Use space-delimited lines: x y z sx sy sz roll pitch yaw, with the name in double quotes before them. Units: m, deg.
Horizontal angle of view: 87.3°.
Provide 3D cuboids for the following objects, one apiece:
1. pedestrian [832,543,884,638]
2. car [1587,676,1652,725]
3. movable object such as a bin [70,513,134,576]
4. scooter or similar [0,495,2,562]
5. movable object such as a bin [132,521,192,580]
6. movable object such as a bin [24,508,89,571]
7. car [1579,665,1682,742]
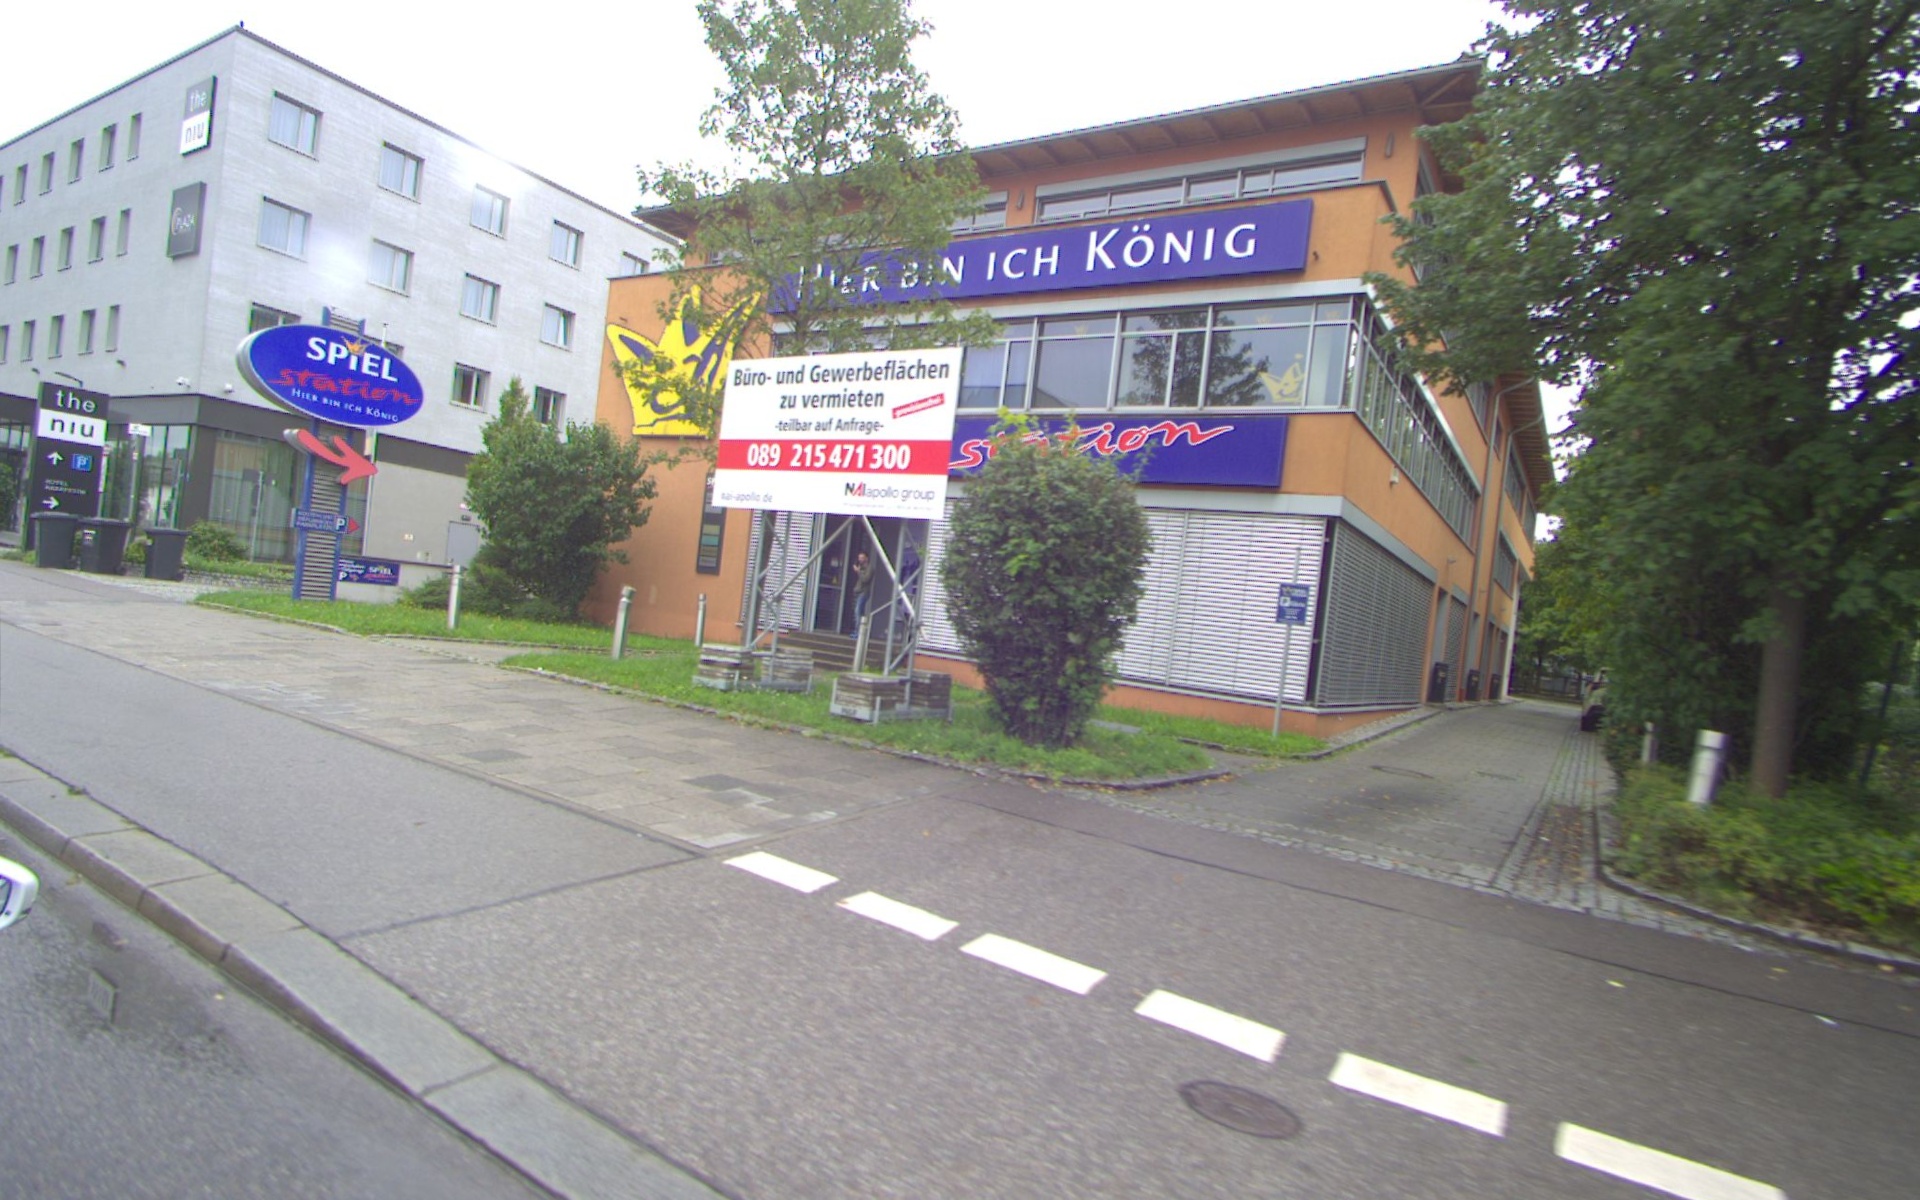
"pedestrian" -1.961 -0.179 19.400 0.648 1.734 0.662 6 1 14
"car" 25.254 3.825 38.634 1.738 1.503 3.885 7 0 30
"movable object such as a bin" -16.521 -1.064 19.382 0.645 1.092 0.737 7 1 33
"scooter or similar" -19.591 -1.466 19.940 1.381 1.296 0.585 7 5 33
"movable object such as a bin" -16.189 -0.997 20.419 0.645 1.092 0.737 7 1 33
"movable object such as a bin" -17.391 -1.166 19.360 0.645 1.092 0.737 7 1 33
"car" 16.433 2.468 24.805 1.738 1.503 3.885 7 0 30
